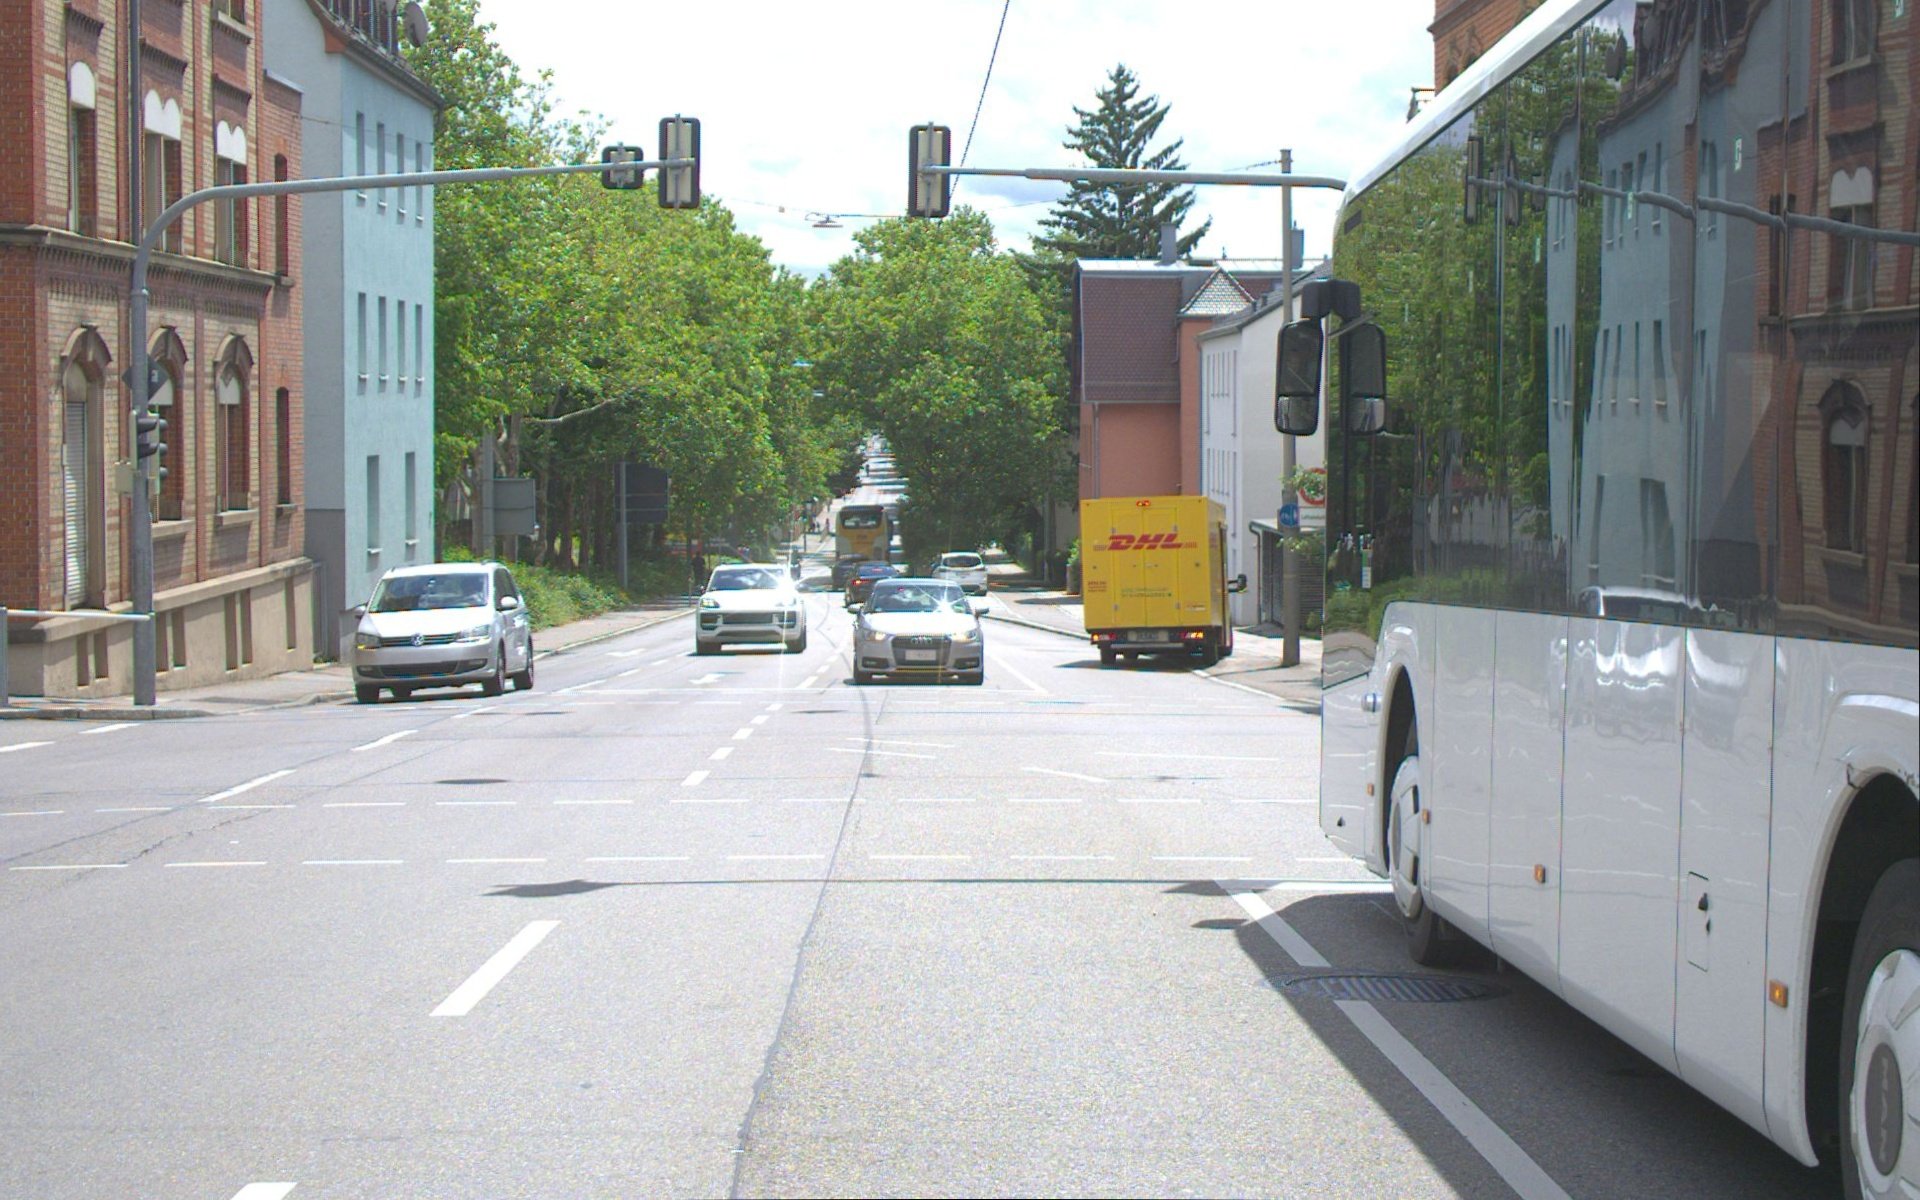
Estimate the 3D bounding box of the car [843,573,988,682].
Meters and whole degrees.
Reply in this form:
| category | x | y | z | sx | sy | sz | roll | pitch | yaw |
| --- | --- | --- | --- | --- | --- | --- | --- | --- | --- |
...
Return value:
| category | x | y | z | sx | sy | sz | roll | pitch | yaw |
| --- | --- | --- | --- | --- | --- | --- | --- | --- | --- |
| car | -0.599 | 0.337 | 46.599 | 1.865 | 1.363 | 4.547 | -1 | 1 | -1 |

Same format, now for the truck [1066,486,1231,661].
| category | x | y | z | sx | sy | sz | roll | pitch | yaw |
| --- | --- | --- | --- | --- | --- | --- | --- | --- | --- |
| truck | 3.408 | -0.475 | 60.807 | 2.542 | 2.903 | 6.571 | 1 | 1 | 6 |

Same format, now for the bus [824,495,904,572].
| category | x | y | z | sx | sy | sz | roll | pitch | yaw |
| --- | --- | --- | --- | --- | --- | --- | --- | --- | --- |
| bus | -4.748 | -3.228 | 167.749 | 3.300 | 3.618 | 11.246 | -1 | 1 | -4 |

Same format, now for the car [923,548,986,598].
| category | x | y | z | sx | sy | sz | roll | pitch | yaw |
| --- | --- | --- | --- | --- | --- | --- | --- | --- | --- |
| car | -0.216 | -1.031 | 129.495 | 2.091 | 1.824 | 4.143 | 0 | 1 | -4 |

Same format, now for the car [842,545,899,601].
| category | x | y | z | sx | sy | sz | roll | pitch | yaw |
| --- | --- | --- | --- | --- | --- | --- | --- | --- | --- |
| car | -2.940 | -0.909 | 113.481 | 1.819 | 1.778 | 4.000 | -1 | 1 | -1 |

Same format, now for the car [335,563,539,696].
| category | x | y | z | sx | sy | sz | roll | pitch | yaw |
| --- | --- | --- | --- | --- | --- | --- | --- | --- | --- |
| car | -6.527 | 0.332 | 43.328 | 1.935 | 1.558 | 4.389 | -1 | 1 | -1 |

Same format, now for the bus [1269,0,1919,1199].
| category | x | y | z | sx | sy | sz | roll | pitch | yaw |
| --- | --- | --- | --- | --- | --- | --- | --- | --- | --- |
| bus | 2.947 | -0.308 | 9.302 | 2.904 | 3.498 | 12.488 | 1 | 1 | -1 |

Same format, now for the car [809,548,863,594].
| category | x | y | z | sx | sy | sz | roll | pitch | yaw |
| --- | --- | --- | --- | --- | --- | --- | --- | --- | --- |
| car | -5.111 | -1.209 | 140.906 | 2.091 | 1.824 | 4.143 | 0 | 1 | -4 |

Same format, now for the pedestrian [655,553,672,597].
| category | x | y | z | sx | sy | sz | roll | pitch | yaw |
| --- | --- | --- | --- | --- | --- | --- | --- | --- | --- |
| pedestrian | -11.788 | -1.006 | 136.533 | 0.606 | 1.752 | 0.654 | -1 | 1 | -2 |

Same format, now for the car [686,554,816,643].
| category | x | y | z | sx | sy | sz | roll | pitch | yaw |
| --- | --- | --- | --- | --- | --- | --- | --- | --- | --- |
| car | -3.902 | -0.059 | 64.862 | 2.207 | 1.607 | 4.547 | -1 | 1 | -1 |
